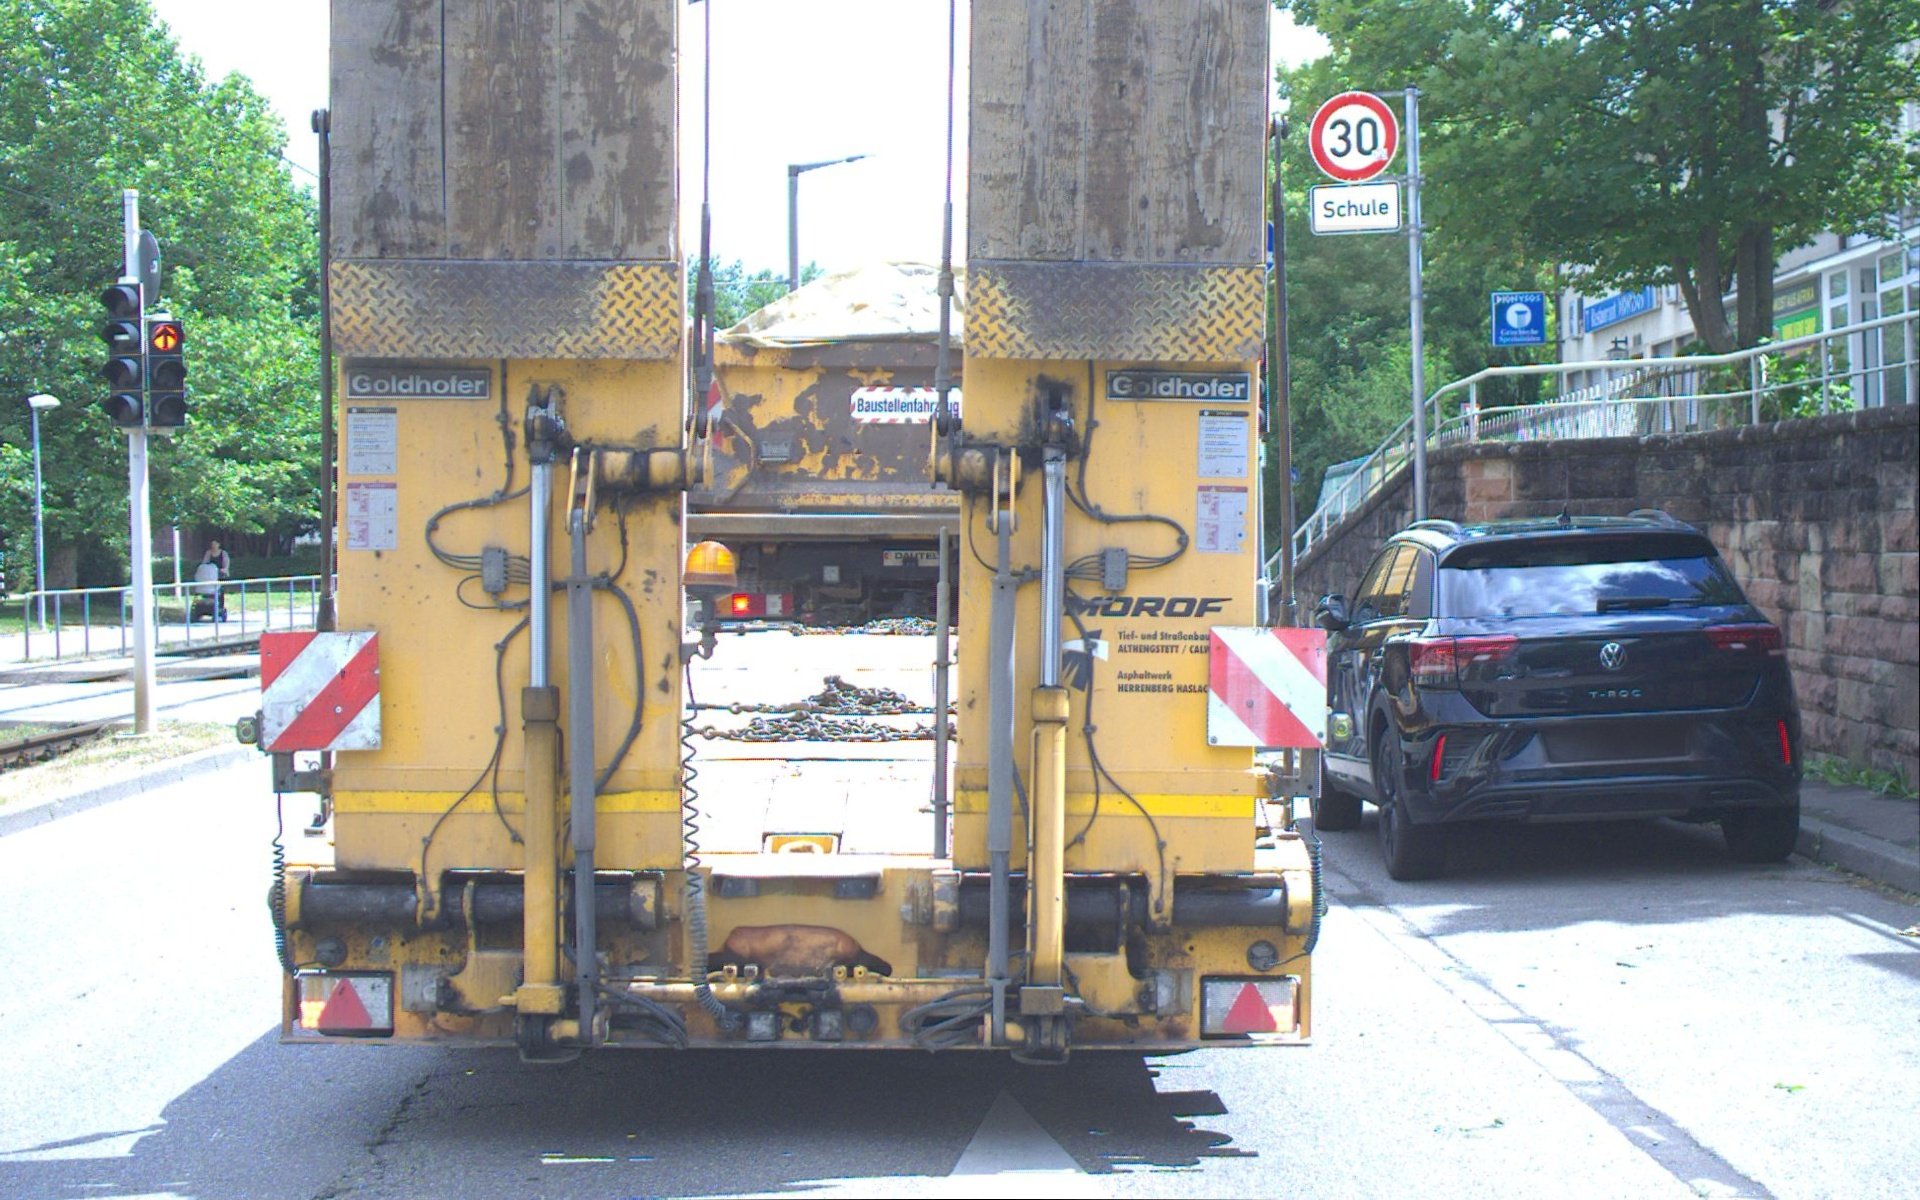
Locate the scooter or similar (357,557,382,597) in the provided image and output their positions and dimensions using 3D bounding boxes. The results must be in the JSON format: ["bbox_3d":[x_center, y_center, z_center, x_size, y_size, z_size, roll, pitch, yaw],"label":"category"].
[{"bbox_3d":[-14.504,-0.564,84.406,0.505,0.968,0.646,1,1,-1],"label":"scooter or similar"}]

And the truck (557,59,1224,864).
[{"bbox_3d":[-0.309,-0.663,17.792,2.942,3.560,4.877,-1,1,0],"label":"truck"}]

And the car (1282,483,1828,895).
[{"bbox_3d":[2.648,0.333,16.221,1.851,1.633,4.000,-2,1,0],"label":"car"}]

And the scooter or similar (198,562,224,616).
[{"bbox_3d":[-14.746,-0.220,67.705,0.338,1.054,0.687,0,2,2],"label":"scooter or similar"}]

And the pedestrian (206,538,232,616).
[{"bbox_3d":[-14.737,-0.465,68.352,0.348,1.531,0.557,-1,1,3],"label":"pedestrian"}]

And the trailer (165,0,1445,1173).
[{"bbox_3d":[-0.336,-0.560,12.317,2.945,3.589,8.684,-1,1,0],"label":"trailer"}]

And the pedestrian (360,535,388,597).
[{"bbox_3d":[-14.492,-0.838,85.058,0.563,1.508,0.646,1,1,-1],"label":"pedestrian"}]
